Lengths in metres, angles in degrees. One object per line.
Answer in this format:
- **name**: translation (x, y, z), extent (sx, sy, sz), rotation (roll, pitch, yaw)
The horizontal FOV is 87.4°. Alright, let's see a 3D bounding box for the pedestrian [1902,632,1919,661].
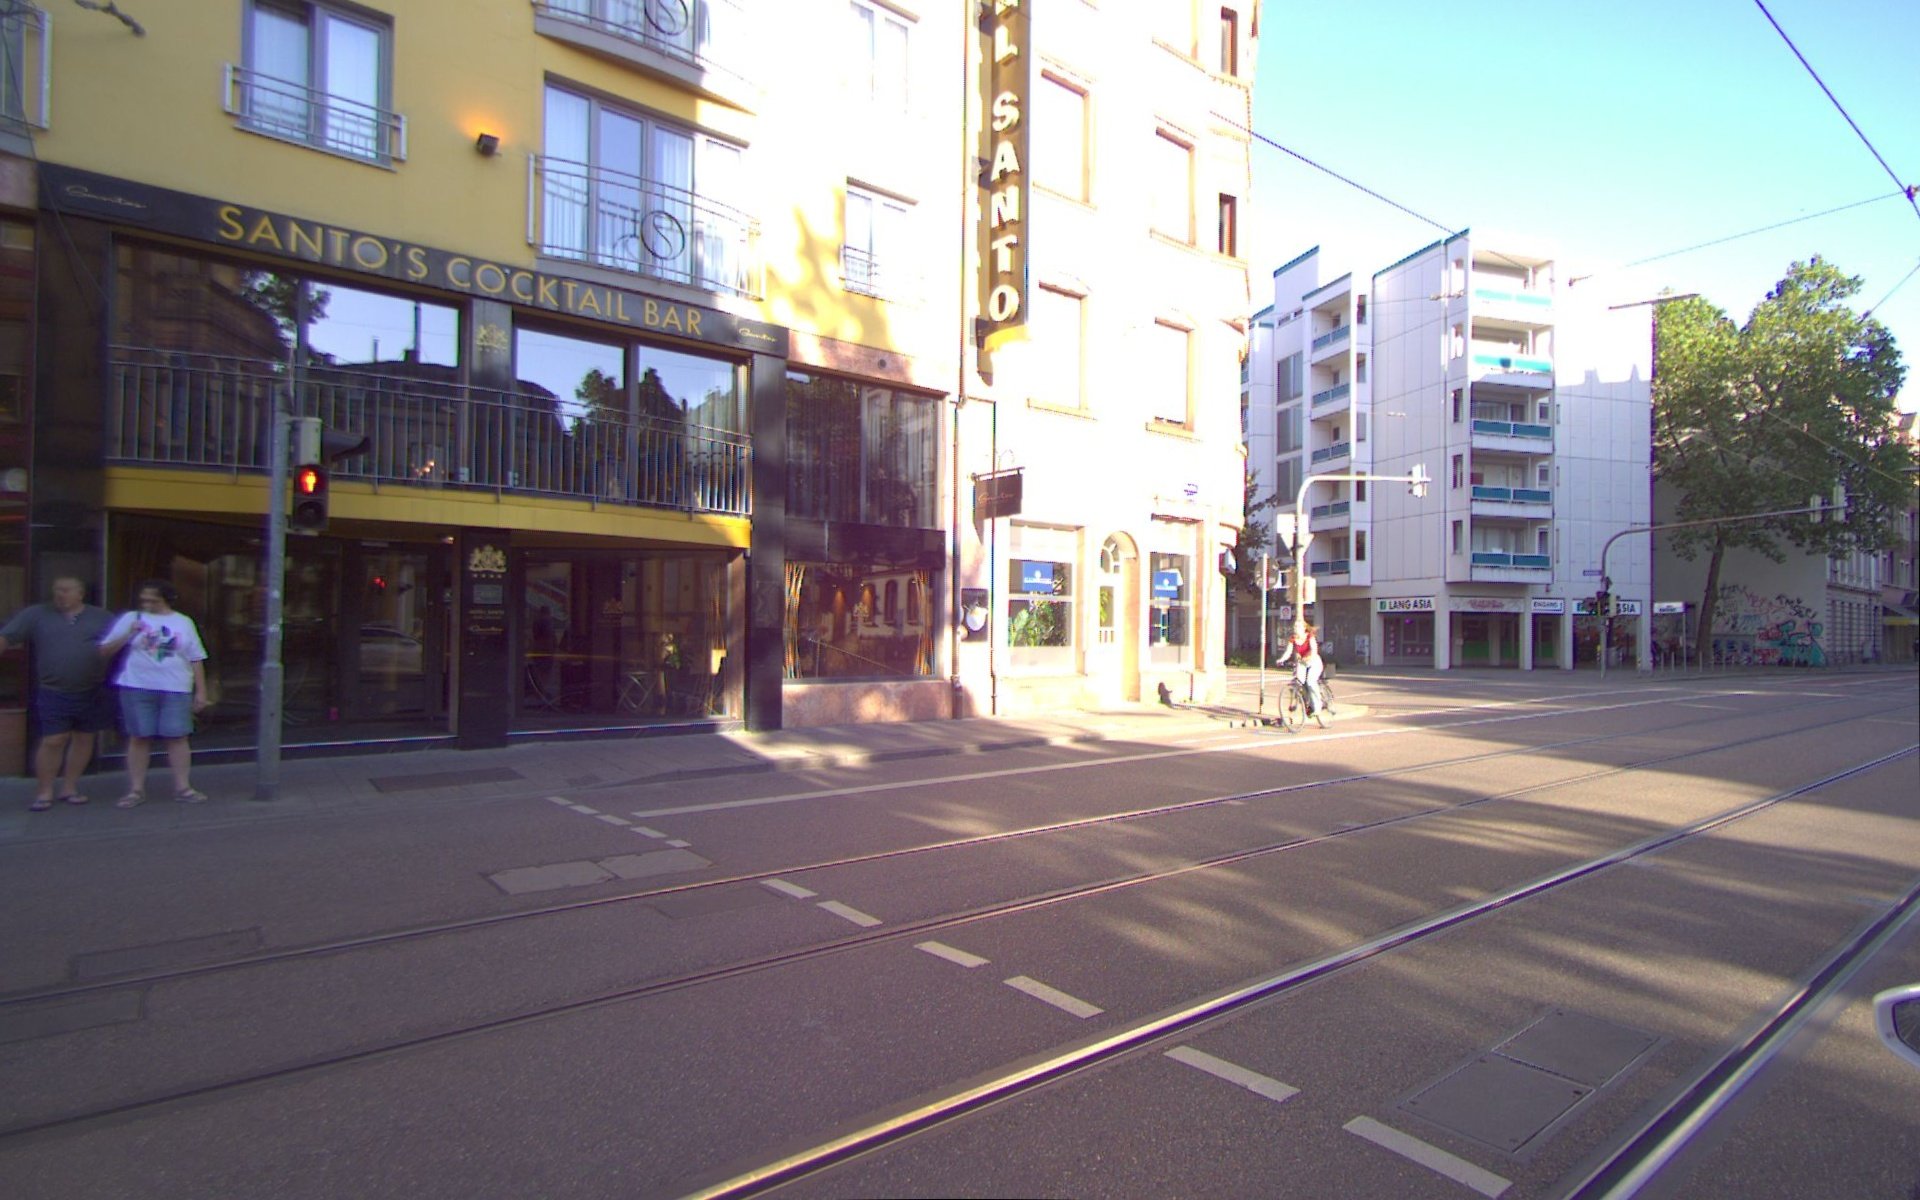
- **pedestrian**: translation (59.693, 2.916, 63.063), extent (0.642, 1.751, 0.695), rotation (2, -2, -39)

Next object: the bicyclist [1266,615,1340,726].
- **bicyclist**: translation (5.355, 1.071, 15.672), extent (0.982, 1.665, 0.695), rotation (2, -2, -40)

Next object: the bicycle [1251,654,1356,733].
- **bicycle**: translation (5.380, 1.425, 15.690), extent (1.883, 1.124, 0.691), rotation (2, -2, -40)

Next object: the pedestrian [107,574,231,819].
- **pedestrian**: translation (-6.567, 0.743, 8.342), extent (0.748, 1.843, 1.034), rotation (1, 3, -39)

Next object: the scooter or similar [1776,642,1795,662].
- **scooter or similar**: translation (44.111, 2.764, 53.671), extent (1.467, 1.059, 0.512), rotation (2, -2, -41)

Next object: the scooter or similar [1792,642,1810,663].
- **scooter or similar**: translation (44.526, 2.756, 53.193), extent (1.467, 1.071, 0.512), rotation (2, -2, -41)

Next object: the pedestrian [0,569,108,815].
- **pedestrian**: translation (-7.191, 0.679, 7.814), extent (0.793, 1.795, 0.741), rotation (1, 3, -37)
